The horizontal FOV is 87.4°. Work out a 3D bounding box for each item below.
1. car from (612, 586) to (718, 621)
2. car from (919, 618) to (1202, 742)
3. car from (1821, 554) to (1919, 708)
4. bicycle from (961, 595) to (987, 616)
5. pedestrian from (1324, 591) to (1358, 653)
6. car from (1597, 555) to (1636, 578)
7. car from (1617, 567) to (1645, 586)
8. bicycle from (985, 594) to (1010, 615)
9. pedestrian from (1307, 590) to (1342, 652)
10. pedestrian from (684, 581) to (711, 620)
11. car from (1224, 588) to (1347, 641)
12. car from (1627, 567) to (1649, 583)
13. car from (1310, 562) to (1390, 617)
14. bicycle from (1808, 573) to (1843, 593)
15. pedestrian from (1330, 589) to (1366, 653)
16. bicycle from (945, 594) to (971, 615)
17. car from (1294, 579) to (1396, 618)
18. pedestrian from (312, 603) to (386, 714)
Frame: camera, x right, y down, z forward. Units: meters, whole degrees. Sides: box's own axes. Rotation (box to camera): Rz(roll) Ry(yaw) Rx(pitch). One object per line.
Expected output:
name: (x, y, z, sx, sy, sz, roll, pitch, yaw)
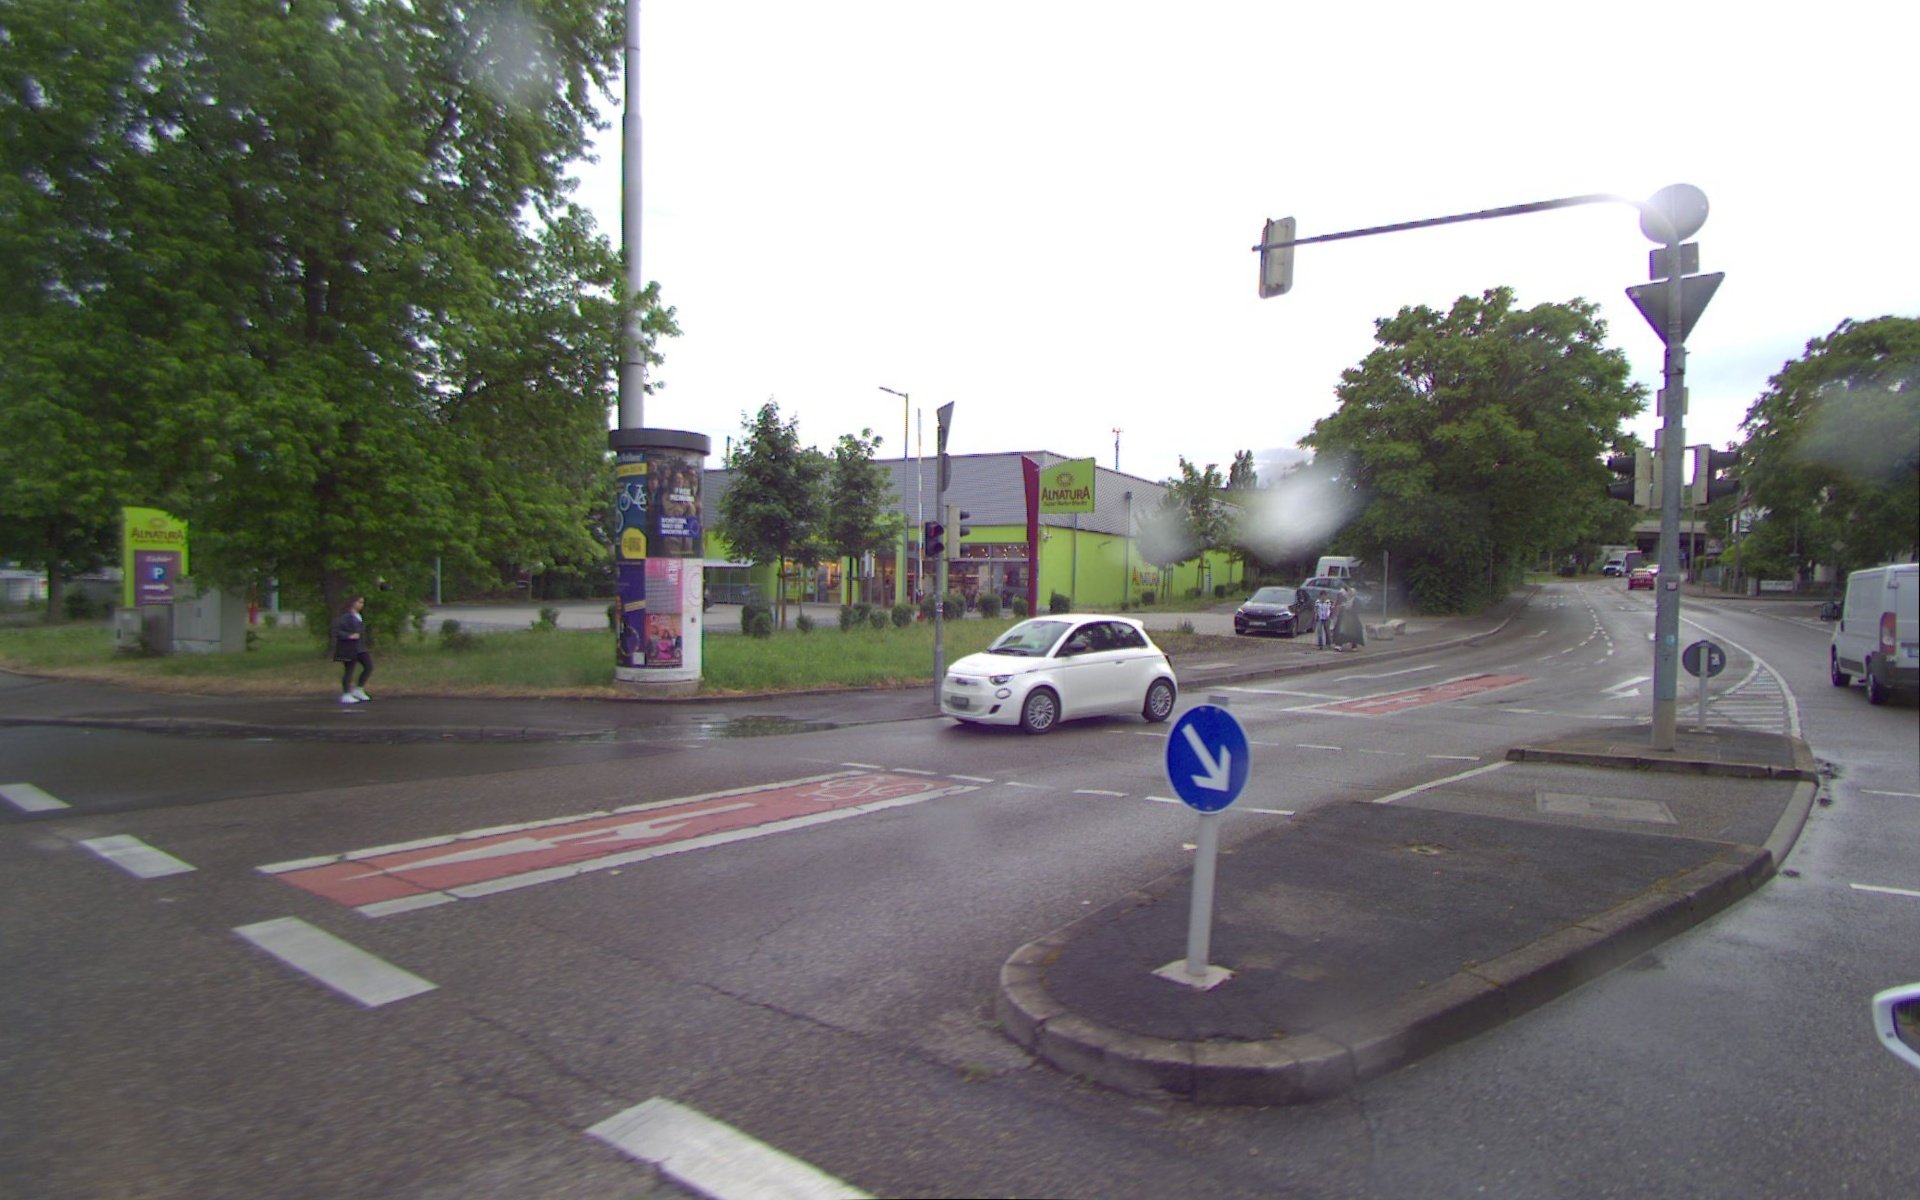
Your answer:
car: (-12.663, 0.107, 43.399, 1.745, 1.363, 4.367, 1, 2, 32)
car: (1.508, 1.018, 14.256, 3.964, 1.502, 1.674, 0, -1, -38)
car: (16.232, 0.451, 16.869, 2.117, 2.314, 5.047, -1, 0, 34)
bicycle: (0.703, 0.247, 49.102, 0.524, 0.995, 1.611, 0, 1, 31)
pedestrian: (10.363, 0.586, 27.329, 0.673, 1.624, 0.599, -3, 4, -44)
car: (88.647, -4.556, 135.589, 7.150, 3.059, 2.513, -2, 3, -40)
car: (57.752, -2.003, 86.557, 1.810, 1.554, 4.192, 1, 3, 32)
bicycle: (1.825, 0.221, 48.558, 0.524, 0.995, 1.611, 0, 1, 31)
pedestrian: (9.934, 0.554, 27.399, 0.673, 1.624, 0.649, -3, 4, -44)
pedestrian: (-11.169, -0.001, 42.736, 0.747, 1.619, 0.800, 3, 4, 40)
car: (10.084, 0.402, 31.005, 4.203, 1.468, 1.731, -1, 3, -42)
car: (69.817, -2.575, 103.387, 1.742, 1.531, 3.742, 2, 3, 35)
car: (19.766, -0.592, 51.187, 2.071, 2.567, 5.605, 0, 3, 3)
bicycle: (52.663, -1.029, 61.121, 1.550, 1.130, 0.456, -1, 2, 36)
pedestrian: (10.273, 0.541, 26.588, 0.673, 1.624, 0.649, -3, 4, -44)
bicycle: (-0.108, 0.220, 49.661, 0.524, 0.995, 1.611, 0, 1, 31)
car: (17.927, -0.114, 46.920, 1.978, 1.564, 4.089, -1, 3, -32)
pedestrian: (-8.920, 0.839, 14.684, 0.655, 1.553, 0.593, 1, 3, 10)
